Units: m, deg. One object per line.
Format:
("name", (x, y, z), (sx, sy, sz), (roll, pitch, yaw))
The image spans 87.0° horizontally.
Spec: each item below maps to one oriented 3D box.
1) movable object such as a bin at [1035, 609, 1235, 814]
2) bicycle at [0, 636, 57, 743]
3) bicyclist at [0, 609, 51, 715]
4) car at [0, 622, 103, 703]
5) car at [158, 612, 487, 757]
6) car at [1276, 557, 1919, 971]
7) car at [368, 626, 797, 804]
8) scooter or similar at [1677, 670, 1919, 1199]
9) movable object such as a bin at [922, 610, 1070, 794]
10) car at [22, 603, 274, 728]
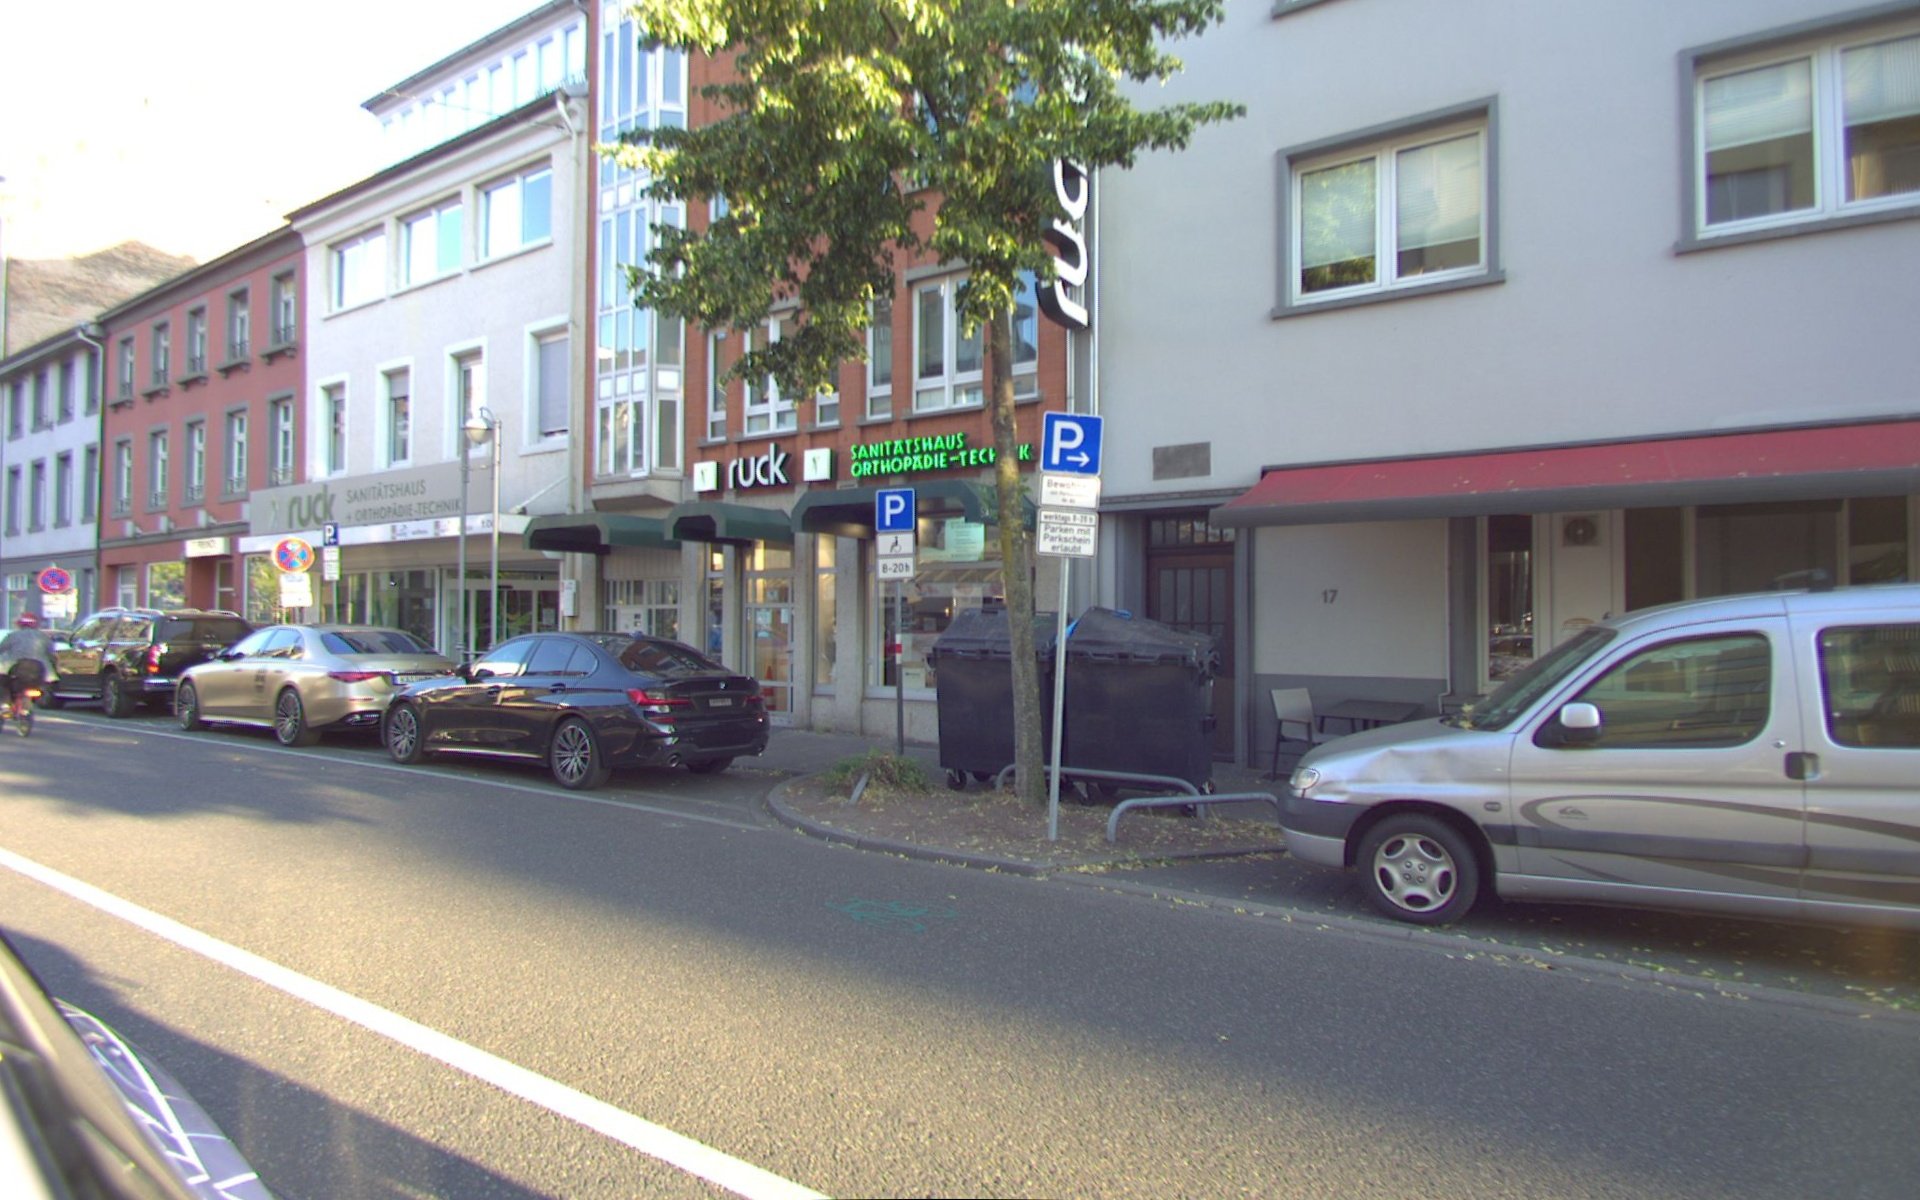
("movable object such as a bin", (1.455, 0.860, 8.464), (1.480, 1.555, 0.745), (0, 0, 33))
("bicycle", (-12.124, 1.110, 12.914), (1.688, 1.246, 0.416), (0, 0, 31))
("bicyclist", (-12.064, 0.772, 12.891), (0.658, 1.312, 0.563), (0, 0, 32))
("car", (-19.358, 1.221, 20.726), (3.831, 1.536, 1.718), (-1, -2, 33))
("car", (-8.599, 1.020, 13.495), (4.931, 1.612, 1.875), (-1, -3, 34))
("car", (3.818, 0.658, 5.126), (3.984, 1.676, 1.703), (0, 0, 30))
("car", (-3.926, 0.999, 10.297), (4.403, 1.403, 1.786), (0, -1, 32))
("scooter or similar", (1.501, 0.757, 0.647), (1.666, 1.361, 0.539), (-1, -2, 37))
("movable object such as a bin", (0.329, 0.878, 9.198), (1.097, 1.547, 0.740), (-1, 0, 33))
("car", (-14.149, 1.075, 17.561), (4.932, 1.898, 1.952), (-2, -2, 33))
